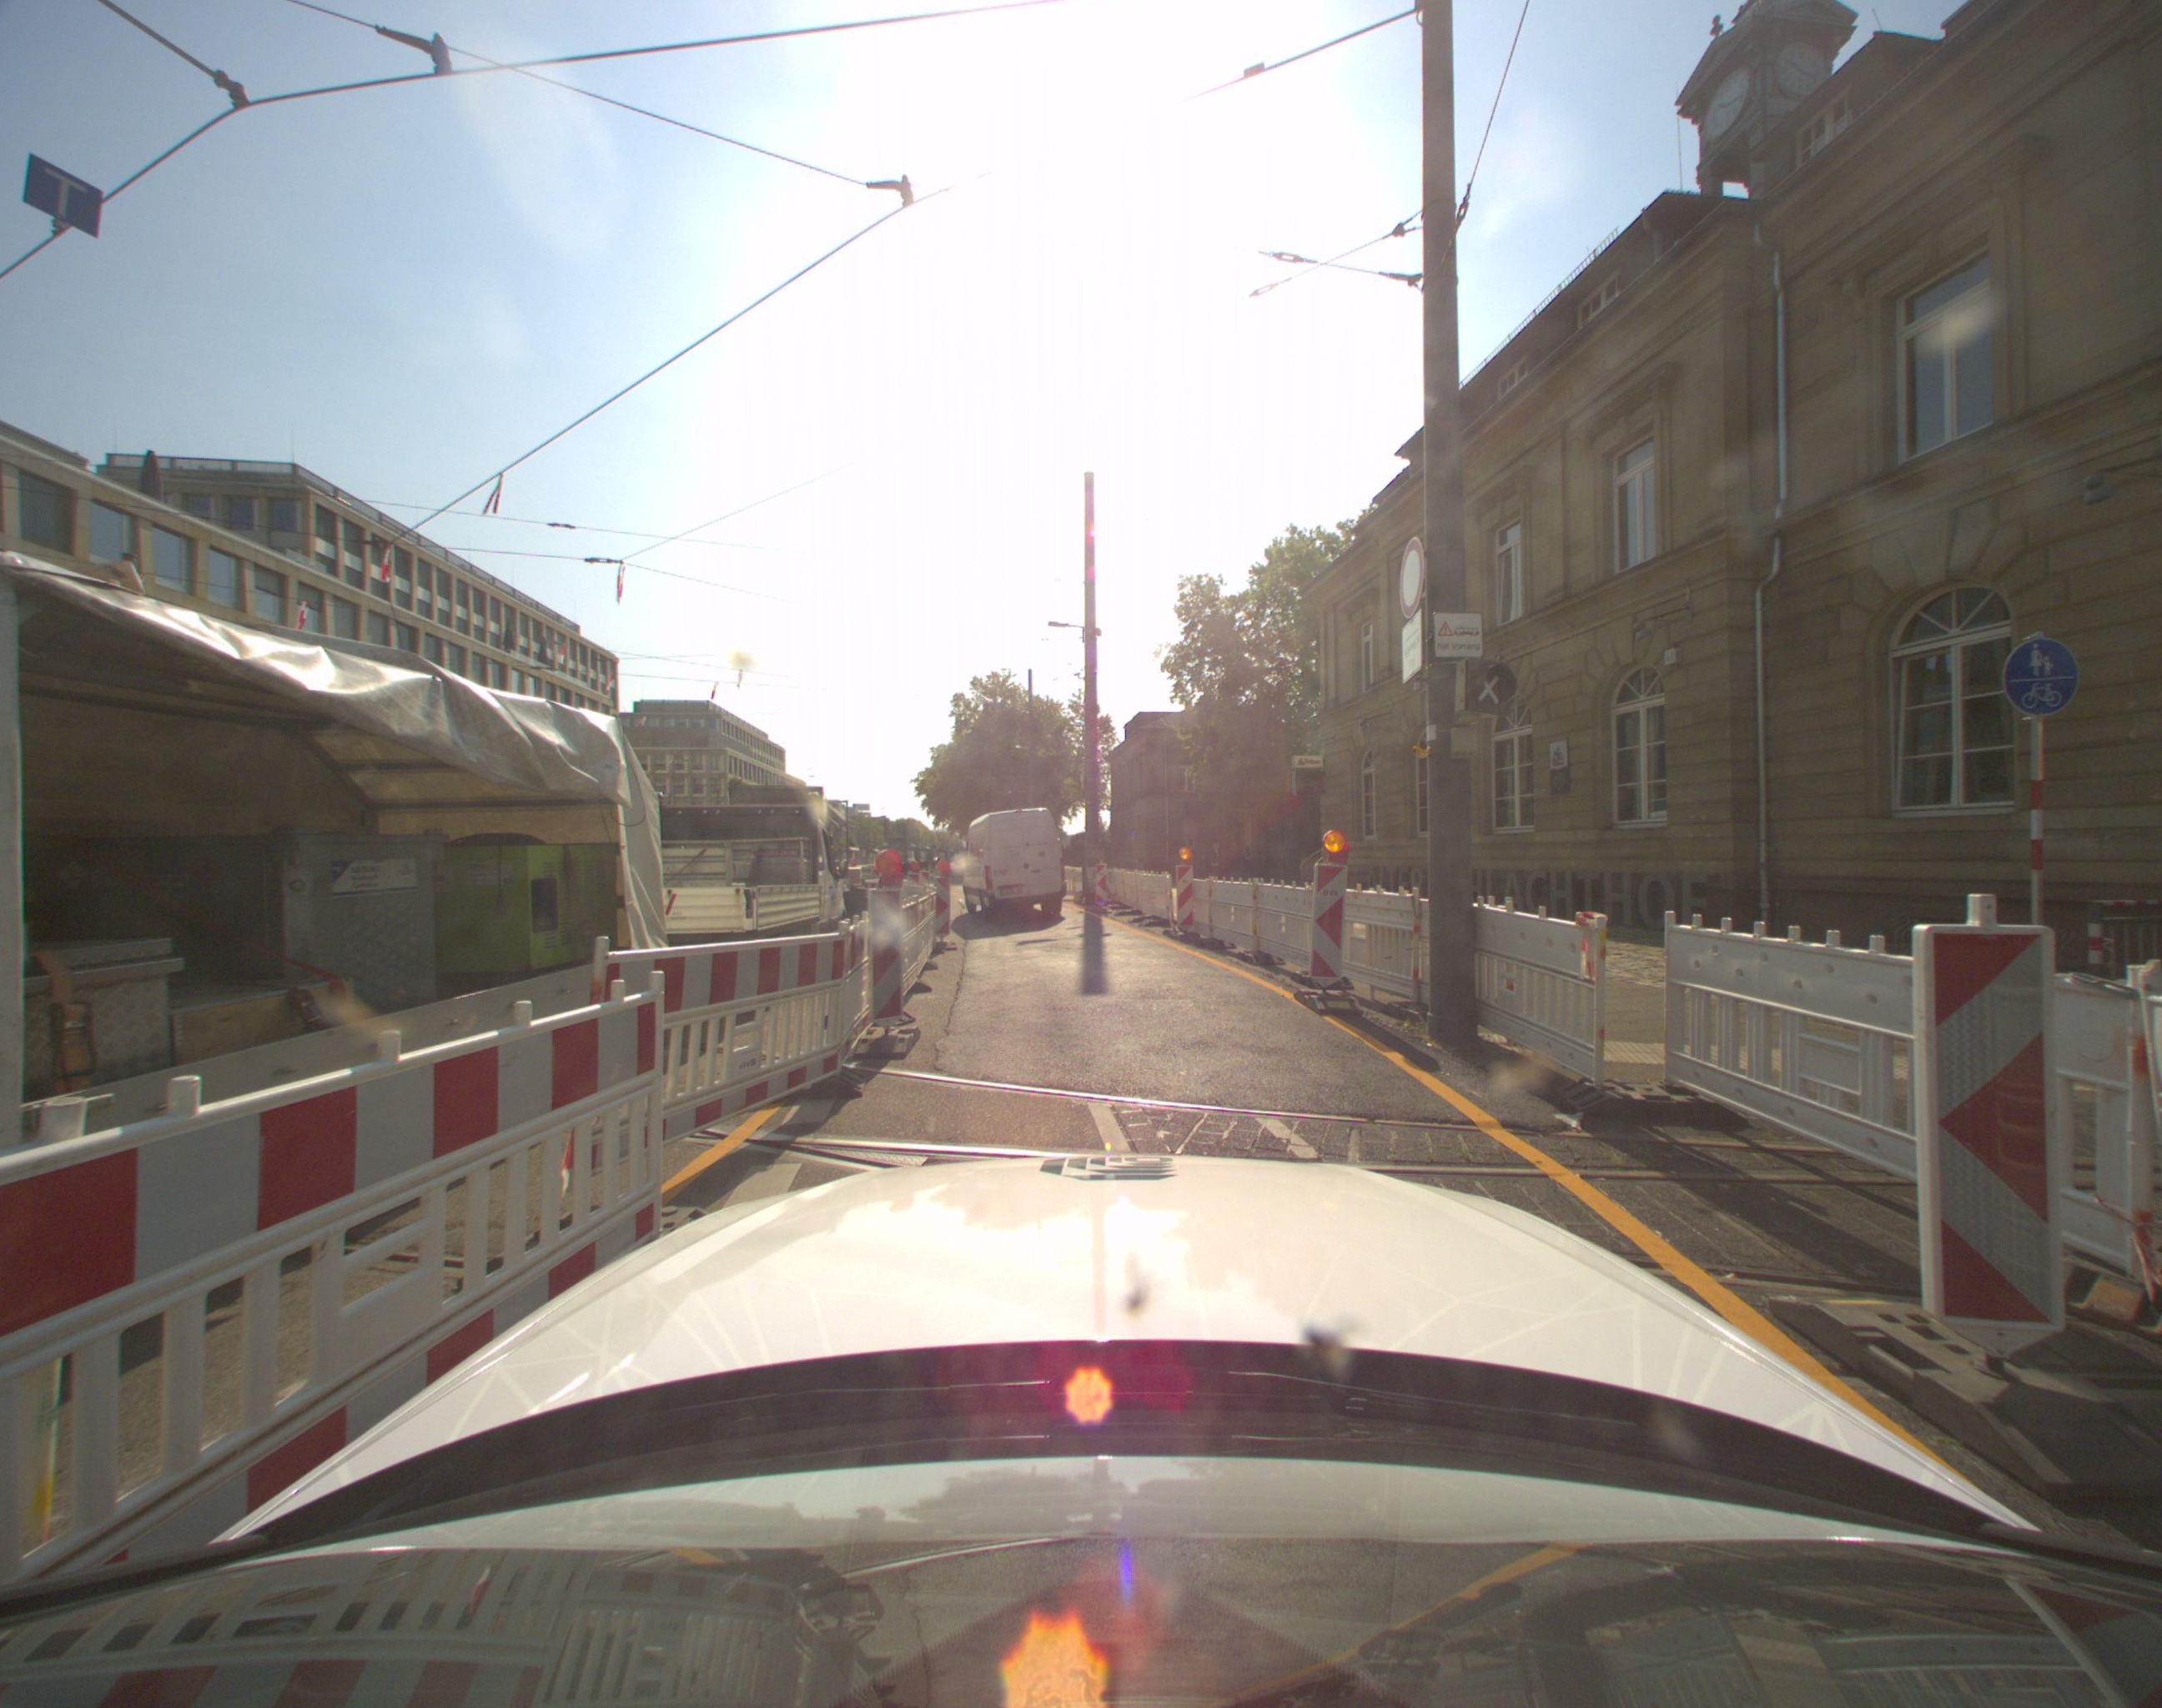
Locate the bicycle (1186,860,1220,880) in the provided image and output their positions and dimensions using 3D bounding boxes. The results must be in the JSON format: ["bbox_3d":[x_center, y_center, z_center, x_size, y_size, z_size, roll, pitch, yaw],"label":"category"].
[{"bbox_3d":[7.004,0.936,46.731,1.839,1.089,0.494,-1,0,11],"label":"bicycle"}]

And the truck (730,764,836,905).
[{"bbox_3d":[-9.802,-0.543,27.074,2.801,3.912,8.363,0,0,-19],"label":"truck"}]

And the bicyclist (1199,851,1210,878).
[{"bbox_3d":[7.074,0.620,46.711,0.590,1.539,0.472,-1,0,11],"label":"bicyclist"}]

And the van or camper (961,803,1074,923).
[{"bbox_3d":[-1.841,0.194,21.514,2.118,2.681,5.227,-3,1,-13],"label":"van or camper"}]

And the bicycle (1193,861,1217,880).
[{"bbox_3d":[7.366,0.976,48.350,0.494,0.999,1.803,-1,2,-26],"label":"bicycle"}]

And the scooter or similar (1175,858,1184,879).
[{"bbox_3d":[5.923,0.882,48.993,0.424,1.228,1.173,-1,0,0],"label":"scooter or similar"}]

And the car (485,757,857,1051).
[{"bbox_3d":[-4.433,0.422,10.492,2.207,2.424,7.175,-2,0,-10],"label":"car"}]
